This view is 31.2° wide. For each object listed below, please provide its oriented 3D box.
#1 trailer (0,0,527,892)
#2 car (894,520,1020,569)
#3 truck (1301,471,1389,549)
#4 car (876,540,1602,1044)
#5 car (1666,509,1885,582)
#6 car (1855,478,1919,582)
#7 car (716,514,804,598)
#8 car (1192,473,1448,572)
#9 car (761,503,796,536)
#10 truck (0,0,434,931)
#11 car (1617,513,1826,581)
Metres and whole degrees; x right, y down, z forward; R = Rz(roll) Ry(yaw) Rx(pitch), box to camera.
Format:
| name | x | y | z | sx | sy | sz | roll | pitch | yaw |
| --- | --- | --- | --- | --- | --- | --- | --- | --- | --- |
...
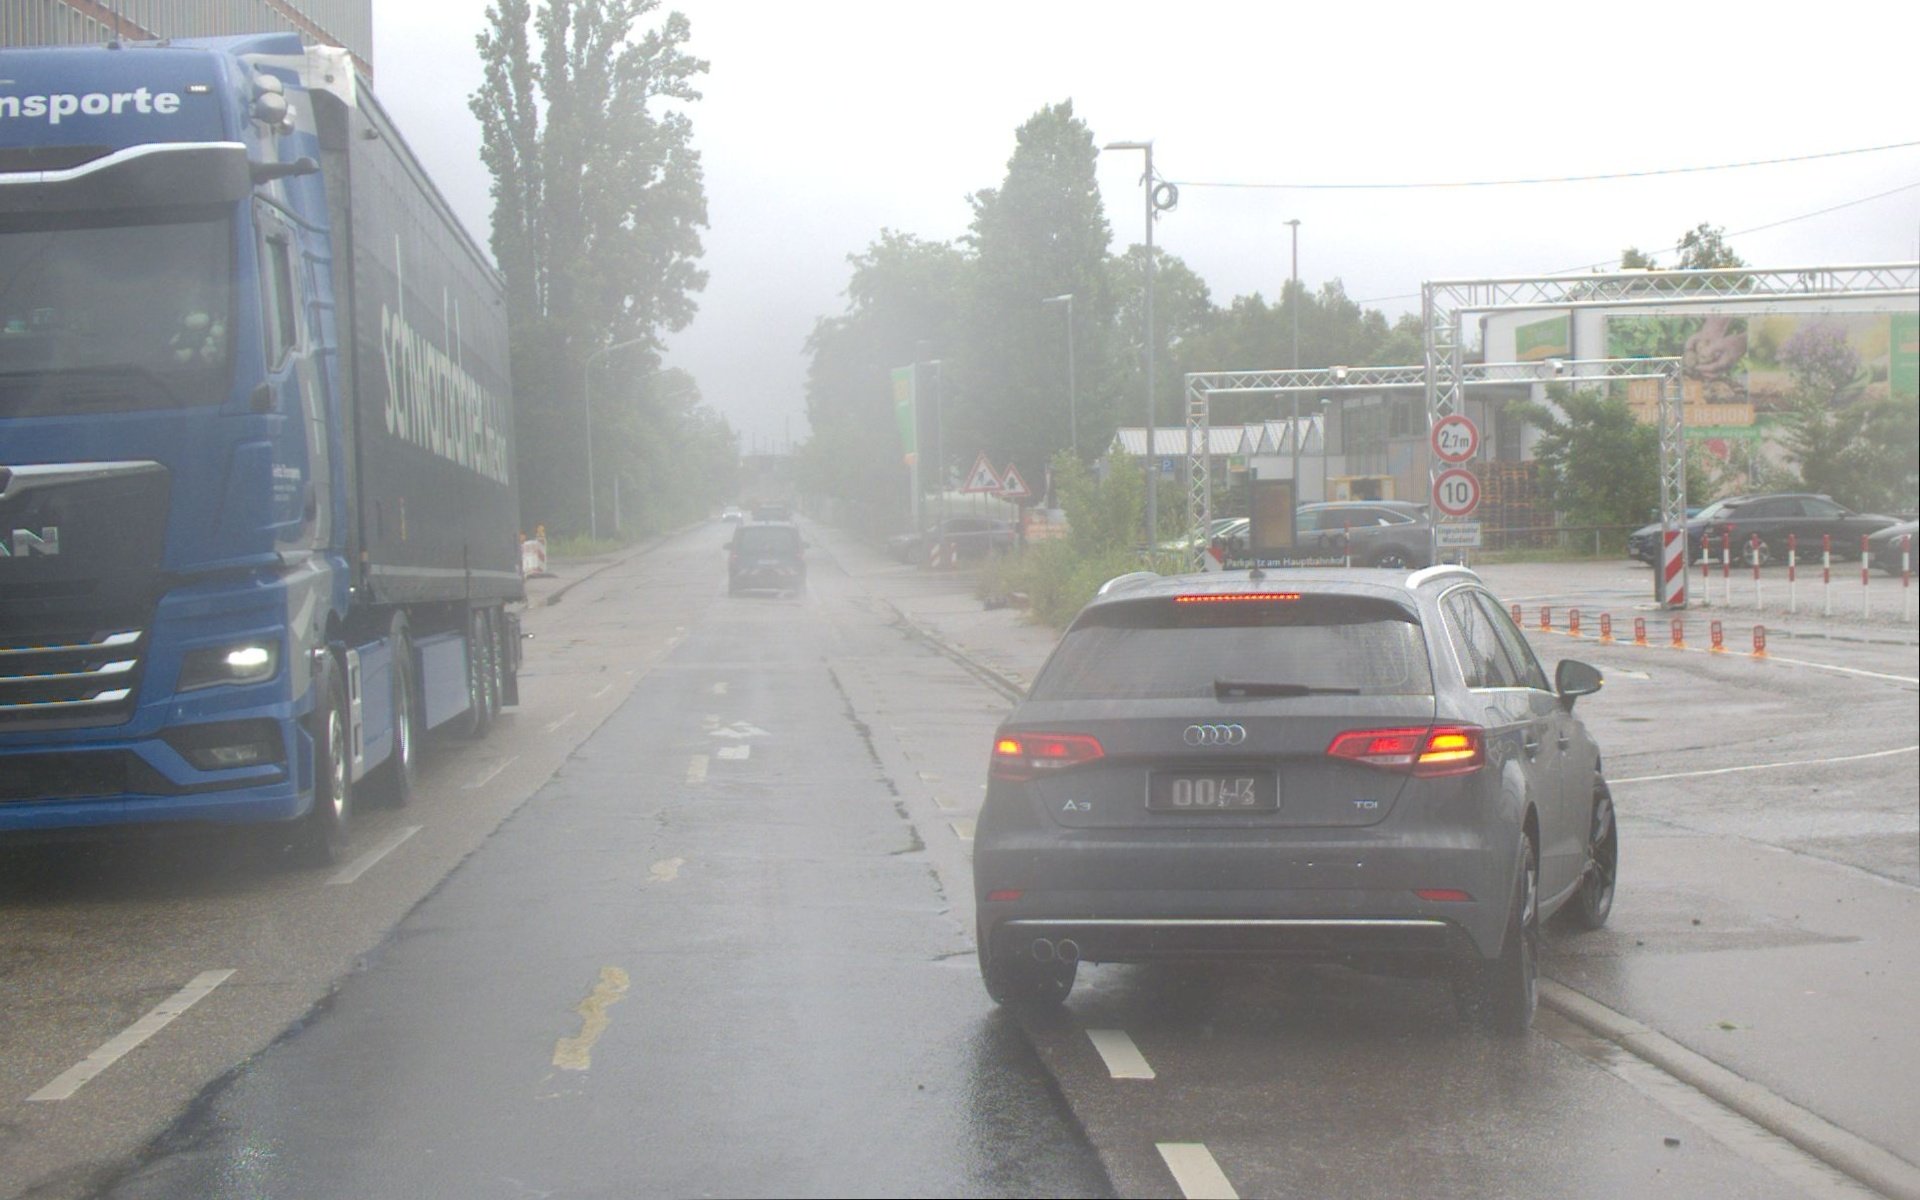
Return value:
| name | x | y | z | sx | sy | sz | roll | pitch | yaw |
| --- | --- | --- | --- | --- | --- | --- | --- | --- | --- |
| trailer | -5.069 | -0.984 | 24.089 | 3.293 | 4.638 | 13.736 | -1 | 1 | -4 |
| car | -0.094 | -1.849 | 114.517 | 4.136 | 1.563 | 1.765 | -1 | 1 | 0 |
| truck | 13.783 | -3.234 | 123.523 | 2.301 | 2.650 | 7.417 | -2 | 2 | 0 |
| car | 1.189 | 0.522 | 12.318 | 1.896 | 1.451 | 4.224 | 1 | 1 | 14 |
| car | 16.702 | -1.107 | 70.567 | 3.986 | 1.480 | 2.000 | 0 | 0 | -2 |
| car | 17.852 | -1.172 | 58.541 | 4.618 | 1.710 | 2.019 | 0 | 0 | -8 |
| car | -4.771 | -1.057 | 81.592 | 1.993 | 1.904 | 4.202 | -1 | 1 | -4 |
| car | 6.850 | -1.473 | 65.776 | 4.681 | 1.729 | 2.128 | -1 | 0 | 2 |
| car | -9.793 | -4.341 | 185.601 | 1.730 | 1.681 | 3.897 | -1 | 1 | 0 |
| truck | -4.593 | -0.978 | 17.348 | 3.293 | 4.638 | 6.034 | -1 | 1 | -4 |
| car | 16.238 | -1.122 | 73.414 | 3.986 | 1.404 | 2.000 | 0 | 0 | -2 |
